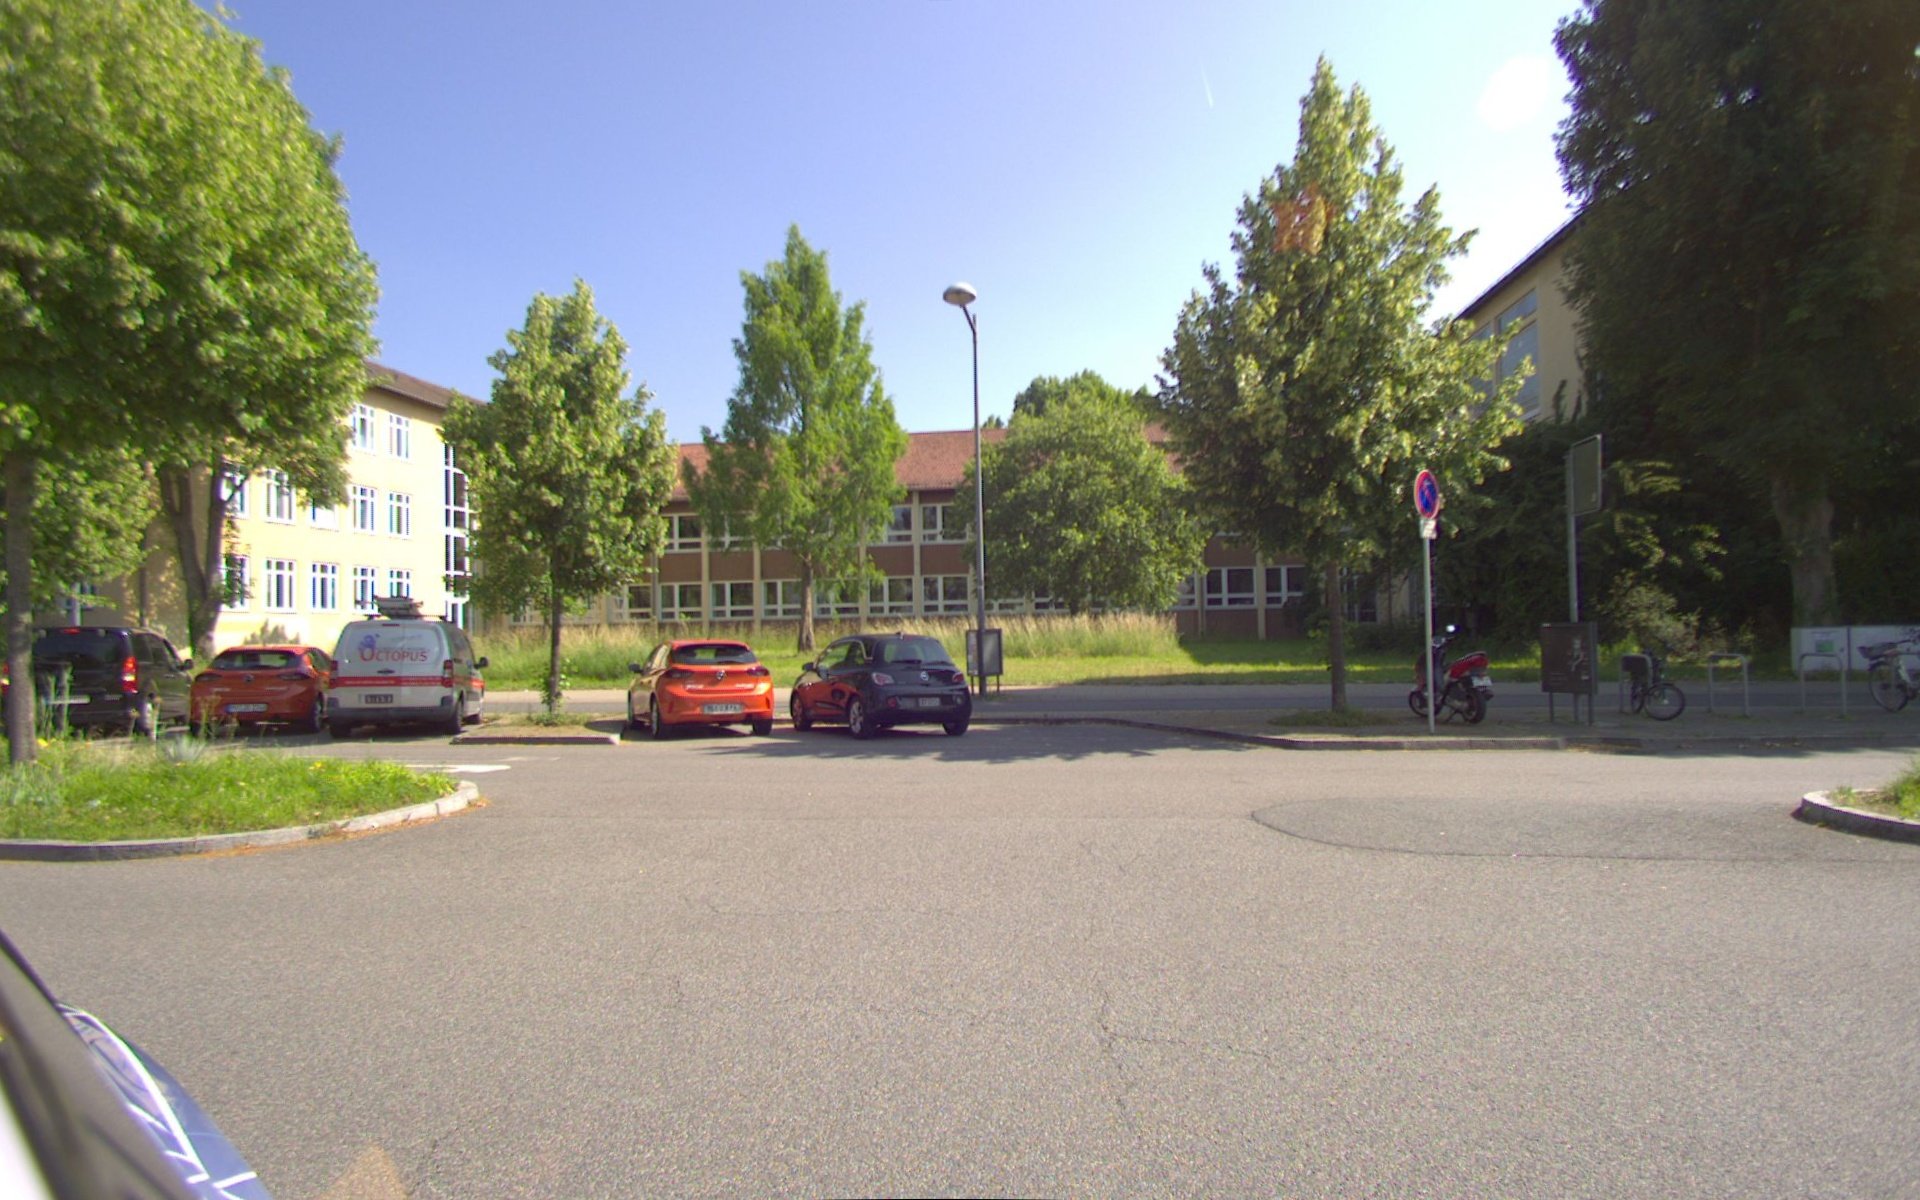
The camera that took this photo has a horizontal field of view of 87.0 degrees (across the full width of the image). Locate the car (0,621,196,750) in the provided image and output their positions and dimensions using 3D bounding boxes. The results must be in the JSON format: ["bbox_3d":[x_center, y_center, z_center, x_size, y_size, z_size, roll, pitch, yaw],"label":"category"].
[{"bbox_3d":[-14.327,1.358,16.792,1.970,1.830,4.201,0,-3,-28],"label":"car"}]

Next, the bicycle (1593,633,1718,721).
[{"bbox_3d":[9.484,1.024,13.893,0.685,1.100,1.845,-2,-2,11],"label":"bicycle"}]

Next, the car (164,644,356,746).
[{"bbox_3d":[-11.573,1.515,17.022,1.824,1.438,3.786,-1,-3,-21],"label":"car"}]

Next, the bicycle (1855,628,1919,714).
[{"bbox_3d":[13.090,0.948,13.614,0.685,1.115,1.845,-2,-2,11],"label":"bicycle"}]

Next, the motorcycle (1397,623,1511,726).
[{"bbox_3d":[6.662,0.974,13.760,0.684,1.294,1.849,-1,-2,3],"label":"motorcycle"}]

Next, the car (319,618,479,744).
[{"bbox_3d":[-8.999,1.226,16.537,1.788,1.785,3.786,0,-2,-21],"label":"car"}]

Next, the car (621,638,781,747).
[{"bbox_3d":[-4.134,1.327,15.725,1.686,1.434,3.855,0,-2,-26],"label":"car"}]

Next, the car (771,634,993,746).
[{"bbox_3d":[-1.296,1.273,15.080,1.824,1.434,3.785,1,-4,-30],"label":"car"}]
